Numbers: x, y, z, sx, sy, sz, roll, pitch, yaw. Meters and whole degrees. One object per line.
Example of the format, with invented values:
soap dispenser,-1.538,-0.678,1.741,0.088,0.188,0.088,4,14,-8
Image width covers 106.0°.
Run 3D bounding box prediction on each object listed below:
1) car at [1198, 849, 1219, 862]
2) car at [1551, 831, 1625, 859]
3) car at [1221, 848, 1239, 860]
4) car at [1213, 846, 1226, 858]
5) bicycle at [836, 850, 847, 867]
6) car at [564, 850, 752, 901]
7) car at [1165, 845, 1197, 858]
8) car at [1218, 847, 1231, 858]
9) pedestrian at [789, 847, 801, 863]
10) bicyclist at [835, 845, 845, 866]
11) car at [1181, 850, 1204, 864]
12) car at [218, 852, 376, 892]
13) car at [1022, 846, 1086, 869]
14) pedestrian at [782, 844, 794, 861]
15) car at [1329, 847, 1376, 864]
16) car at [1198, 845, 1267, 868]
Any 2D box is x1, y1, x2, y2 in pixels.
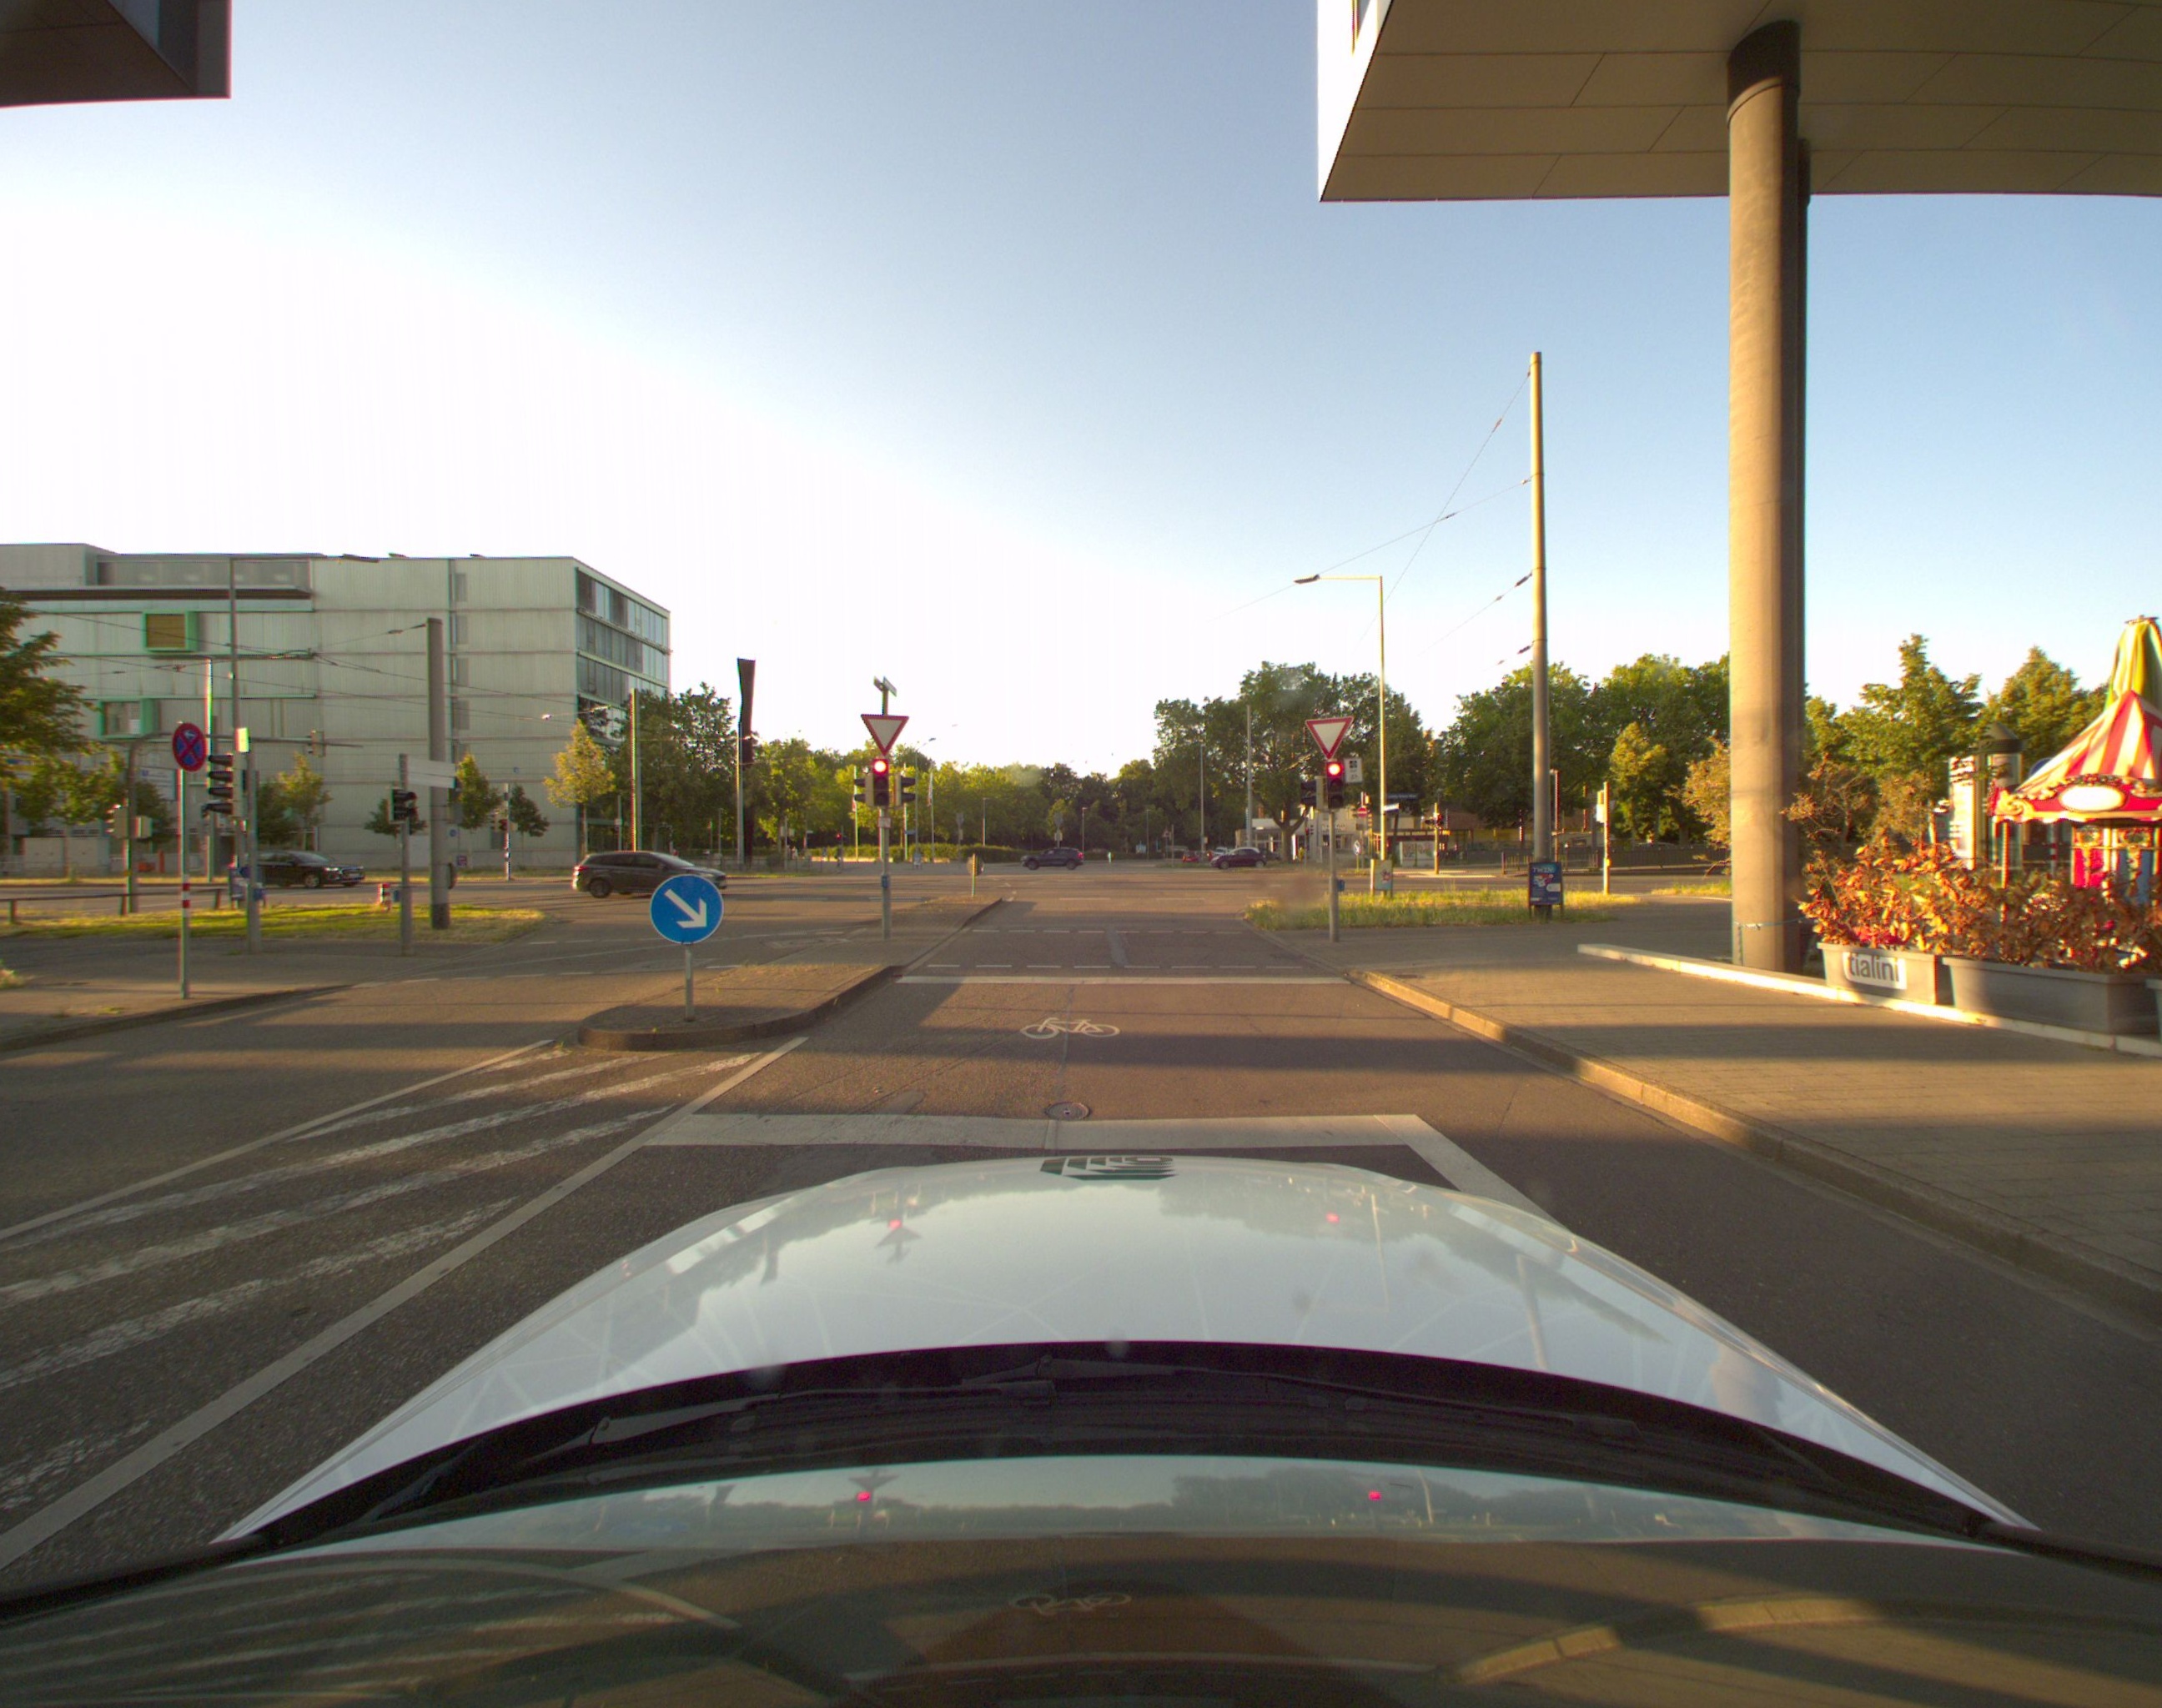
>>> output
car,16.197,0.203,103.192,1.978,1.662,4.018,-1,-1,17
car,47.886,-0.836,77.064,5.561,2.551,2.235,-1,0,9
car,21.076,-0.014,115.312,1.978,1.662,4.018,-1,-1,17
car,22.257,-0.265,130.892,1.850,1.794,4.013,-1,-1,12
bicycle,-19.799,0.383,67.325,0.732,1.341,2.673,-1,0,-20
car,-13.614,0.663,26.487,5.001,1.511,1.984,-1,0,-6
car,15.404,-0.346,125.741,4.753,2.006,2.002,-1,-1,3
car,23.920,-0.272,135.750,1.849,1.794,4.015,-1,-1,14
pedestrian,-30.401,0.128,86.593,0.852,1.744,0.835,-1,0,35
bicyclist,-19.898,0.140,67.322,0.753,1.709,0.914,-1,0,-19
car,13.095,0.367,95.571,1.978,1.662,4.018,-1,-1,17
car,-32.511,0.733,33.903,4.467,1.557,1.986,-1,0,-4
car,-1.839,0.251,56.736,4.313,1.496,1.806,-1,-1,3
pedestrian,-30.864,-0.159,85.741,0.852,1.744,0.835,-1,0,31
car,23.875,0.158,71.722,3.715,1.440,1.669,-1,-1,11
car,10.043,0.175,54.195,4.313,1.496,1.806,-1,-1,3
